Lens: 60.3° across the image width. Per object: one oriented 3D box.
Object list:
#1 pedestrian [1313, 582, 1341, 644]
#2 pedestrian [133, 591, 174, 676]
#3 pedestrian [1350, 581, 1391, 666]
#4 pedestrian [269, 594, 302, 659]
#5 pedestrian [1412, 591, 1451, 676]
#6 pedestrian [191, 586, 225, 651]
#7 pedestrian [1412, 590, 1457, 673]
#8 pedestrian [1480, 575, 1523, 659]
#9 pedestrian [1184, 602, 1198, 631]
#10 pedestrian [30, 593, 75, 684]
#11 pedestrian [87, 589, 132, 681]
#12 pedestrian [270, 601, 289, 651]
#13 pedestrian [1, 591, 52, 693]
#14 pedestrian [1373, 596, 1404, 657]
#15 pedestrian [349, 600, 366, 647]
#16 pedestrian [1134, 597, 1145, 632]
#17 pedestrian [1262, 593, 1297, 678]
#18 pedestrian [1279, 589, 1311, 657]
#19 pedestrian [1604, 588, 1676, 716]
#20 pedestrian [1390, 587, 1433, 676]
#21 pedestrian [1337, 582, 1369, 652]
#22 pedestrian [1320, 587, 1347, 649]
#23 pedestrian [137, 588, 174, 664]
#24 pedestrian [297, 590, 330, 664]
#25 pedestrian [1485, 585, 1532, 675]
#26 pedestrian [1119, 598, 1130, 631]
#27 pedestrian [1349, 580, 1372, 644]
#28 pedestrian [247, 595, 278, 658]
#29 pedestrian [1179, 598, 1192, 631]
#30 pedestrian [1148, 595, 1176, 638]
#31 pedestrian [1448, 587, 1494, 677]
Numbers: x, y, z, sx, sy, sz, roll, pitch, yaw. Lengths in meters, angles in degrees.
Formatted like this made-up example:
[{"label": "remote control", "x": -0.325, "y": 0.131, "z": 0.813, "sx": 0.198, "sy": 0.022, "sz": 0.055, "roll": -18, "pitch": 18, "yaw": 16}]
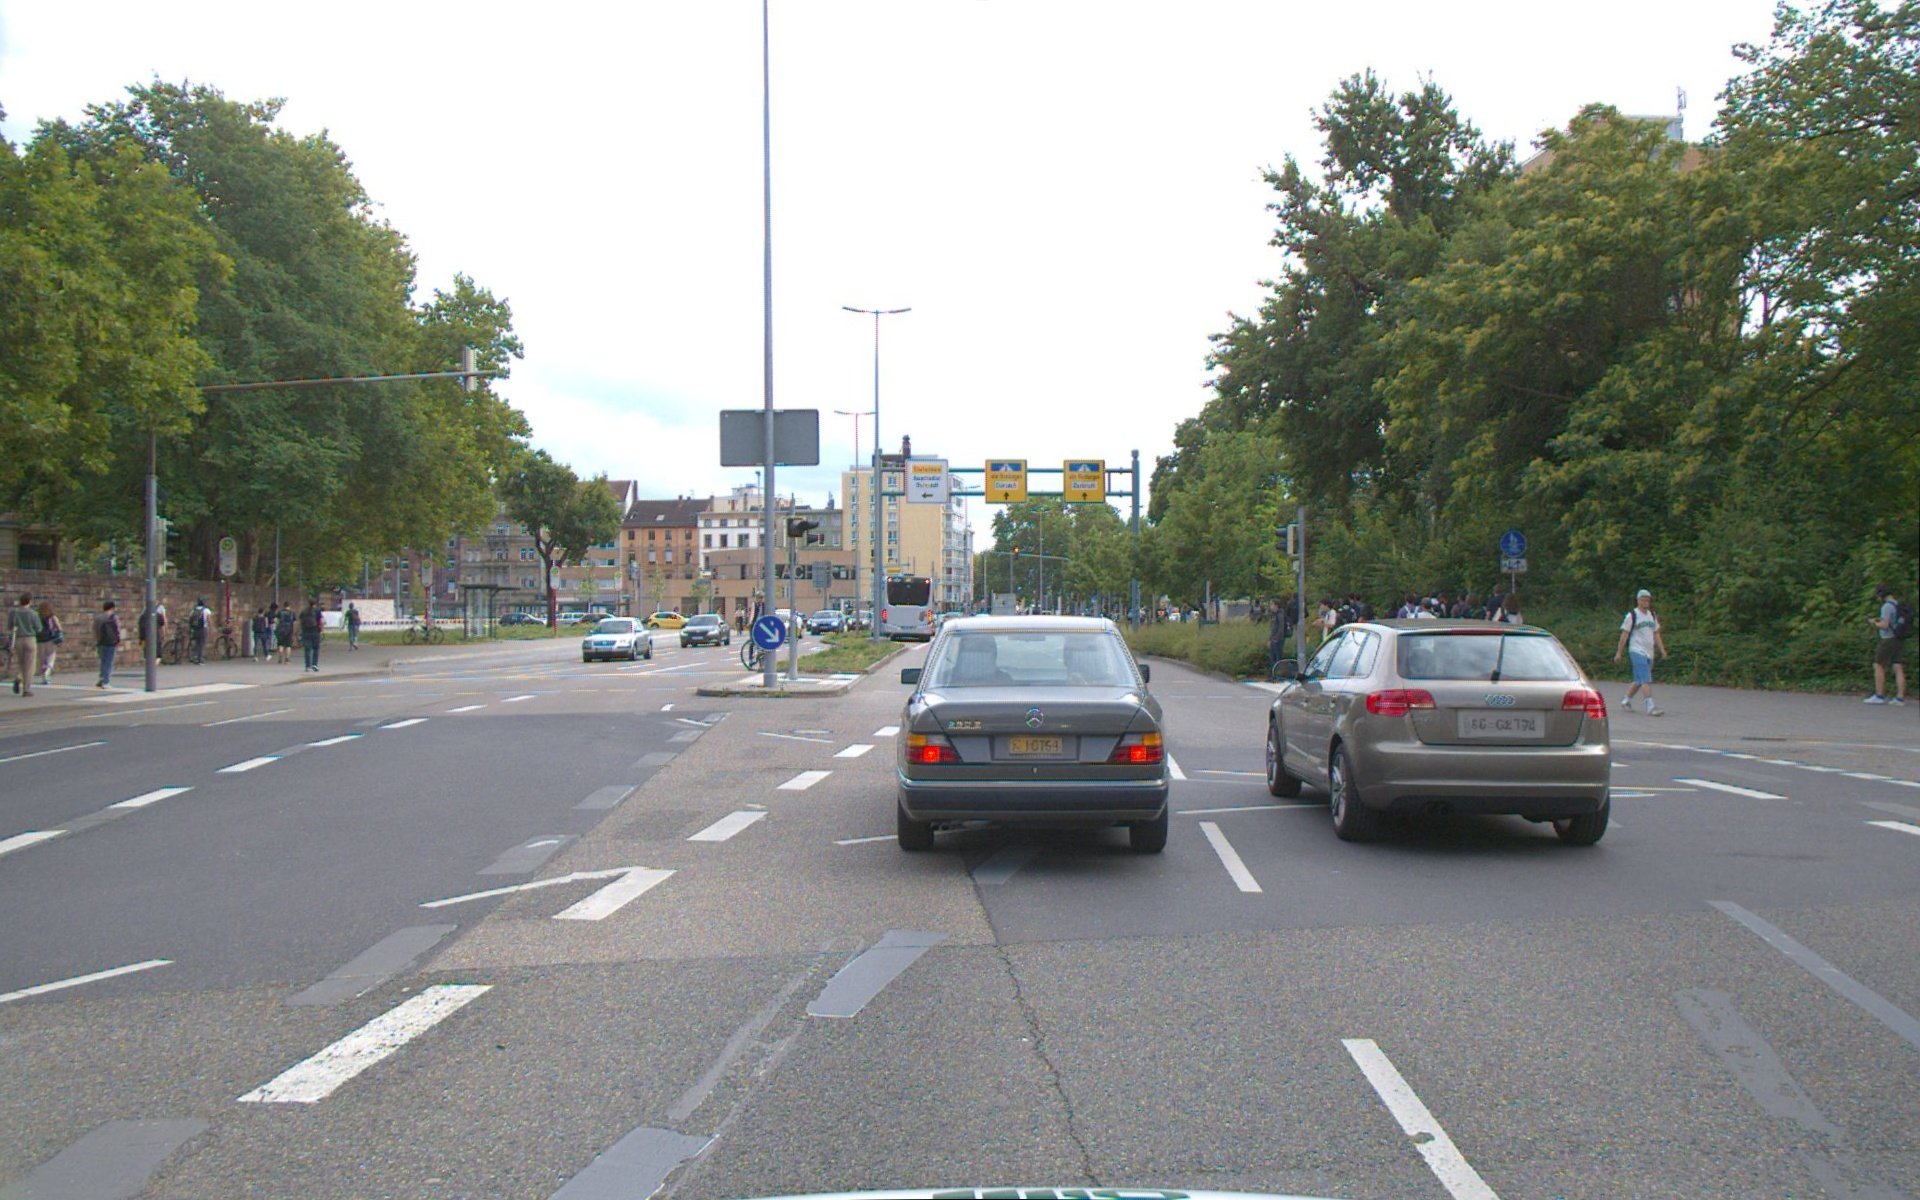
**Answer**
[{"label": "pedestrian", "x": 10.552, "y": 0.363, "z": 47.520, "sx": 0.606, "sy": 1.766, "sz": 0.814, "roll": -1, "pitch": 0, "yaw": 0}, {"label": "pedestrian", "x": -17.541, "y": 0.738, "z": 35.975, "sx": 0.750, "sy": 1.814, "sz": 0.776, "roll": 1, "pitch": -2, "yaw": -29}, {"label": "pedestrian", "x": 8.637, "y": 0.489, "z": 34.840, "sx": 0.643, "sy": 1.776, "sz": 0.780, "roll": -1, "pitch": 0, "yaw": -2}, {"label": "pedestrian", "x": -18.967, "y": 0.745, "z": 46.512, "sx": 0.750, "sy": 1.814, "sz": 0.915, "roll": 1, "pitch": -2, "yaw": -28}, {"label": "pedestrian", "x": 9.977, "y": 0.695, "z": 35.024, "sx": 0.569, "sy": 1.776, "sz": 0.789, "roll": -1, "pitch": 0, "yaw": -2}, {"label": "pedestrian", "x": -20.090, "y": 0.491, "z": 44.195, "sx": 0.750, "sy": 1.700, "sz": 0.916, "roll": 1, "pitch": 0, "yaw": -28}, {"label": "pedestrian", "x": 10.565, "y": 0.693, "z": 36.871, "sx": 0.643, "sy": 1.797, "sz": 0.957, "roll": -2, "pitch": 0, "yaw": -2}, {"label": "pedestrian", "x": 11.676, "y": 0.365, "z": 35.693, "sx": 0.643, "sy": 1.776, "sz": 0.780, "roll": -1, "pitch": 0, "yaw": -2}, {"label": "pedestrian", "x": 11.866, "y": 0.855, "z": 85.035, "sx": 0.643, "sy": 1.496, "sz": 0.562, "roll": -1, "pitch": 0, "yaw": 17}, {"label": "pedestrian", "x": -18.433, "y": 0.779, "z": 33.602, "sx": 0.751, "sy": 1.814, "sz": 0.775, "roll": 1, "pitch": -2, "yaw": -32}, {"label": "pedestrian", "x": -17.001, "y": 0.710, "z": 33.067, "sx": 0.750, "sy": 1.814, "sz": 0.776, "roll": 1, "pitch": -2, "yaw": -30}, {"label": "pedestrian", "x": -22.513, "y": 0.865, "z": 54.711, "sx": 0.578, "sy": 1.620, "sz": 0.730, "roll": 0, "pitch": -2, "yaw": -22}, {"label": "pedestrian", "x": -16.900, "y": 0.763, "z": 29.939, "sx": 0.737, "sy": 1.814, "sz": 0.775, "roll": 1, "pitch": -2, "yaw": -33}, {"label": "pedestrian", "x": 11.587, "y": 0.710, "z": 44.784, "sx": 0.622, "sy": 1.611, "sz": 0.785, "roll": -1, "pitch": 0, "yaw": 0}, {"label": "pedestrian", "x": -21.880, "y": 0.849, "z": 60.057, "sx": 0.551, "sy": 1.697, "sz": 0.624, "roll": 0, "pitch": -2, "yaw": -17}, {"label": "pedestrian", "x": 10.457, "y": 0.846, "z": 96.280, "sx": 0.601, "sy": 2.049, "sz": 0.597, "roll": 0, "pitch": 0, "yaw": -1}, {"label": "pedestrian", "x": 6.696, "y": 0.738, "z": 34.688, "sx": 0.589, "sy": 1.765, "sz": 0.654, "roll": 0, "pitch": -1, "yaw": -2}, {"label": "pedestrian", "x": 9.308, "y": 0.631, "z": 45.933, "sx": 0.678, "sy": 1.853, "sz": 0.954, "roll": -1, "pitch": 0, "yaw": 0}, {"label": "pedestrian", "x": 10.183, "y": 0.770, "z": 24.776, "sx": 0.634, "sy": 1.885, "sz": 0.826, "roll": 1, "pitch": -1, "yaw": -14}, {"label": "pedestrian", "x": 9.076, "y": 0.627, "z": 33.270, "sx": 0.611, "sy": 1.776, "sz": 0.780, "roll": -1, "pitch": 0, "yaw": -2}, {"label": "pedestrian", "x": 10.447, "y": 0.451, "z": 43.985, "sx": 0.642, "sy": 1.853, "sz": 0.812, "roll": -1, "pitch": 0, "yaw": 0}, {"label": "pedestrian", "x": 10.286, "y": 0.483, "z": 45.547, "sx": 0.544, "sy": 1.684, "sz": 0.753, "roll": -1, "pitch": 0, "yaw": 0}, {"label": "pedestrian", "x": -19.352, "y": 0.628, "z": 39.782, "sx": 0.750, "sy": 1.814, "sz": 0.906, "roll": 1, "pitch": -2, "yaw": -28}, {"label": "pedestrian", "x": -16.131, "y": 0.676, "z": 41.263, "sx": 0.749, "sy": 1.814, "sz": 0.716, "roll": 1, "pitch": -2, "yaw": -24}, {"label": "pedestrian", "x": 10.968, "y": 0.599, "z": 33.087, "sx": 0.643, "sy": 1.776, "sz": 0.780, "roll": -1, "pitch": 0, "yaw": -2}, {"label": "pedestrian", "x": 10.143, "y": 0.895, "z": 101.774, "sx": 0.601, "sy": 2.049, "sz": 0.597, "roll": 0, "pitch": 0, "yaw": -1}, {"label": "pedestrian", "x": 11.328, "y": 0.342, "z": 46.821, "sx": 0.474, "sy": 1.794, "sz": 0.664, "roll": -1, "pitch": 0, "yaw": 0}, {"label": "pedestrian", "x": -20.439, "y": 0.787, "z": 48.450, "sx": 0.750, "sy": 1.814, "sz": 0.776, "roll": 1, "pitch": -2, "yaw": -29}, {"label": "pedestrian", "x": 12.148, "y": 0.790, "z": 89.133, "sx": 0.632, "sy": 1.743, "sz": 0.562, "roll": -1, "pitch": 0, "yaw": 15}, {"label": "pedestrian", "x": 8.797, "y": 0.726, "z": 72.025, "sx": 0.916, "sy": 1.862, "sz": 0.886, "roll": -1, "pitch": 0, "yaw": 27}, {"label": "pedestrian", "x": 10.212, "y": 0.630, "z": 33.075, "sx": 0.643, "sy": 1.776, "sz": 0.780, "roll": -1, "pitch": 0, "yaw": -2}]
